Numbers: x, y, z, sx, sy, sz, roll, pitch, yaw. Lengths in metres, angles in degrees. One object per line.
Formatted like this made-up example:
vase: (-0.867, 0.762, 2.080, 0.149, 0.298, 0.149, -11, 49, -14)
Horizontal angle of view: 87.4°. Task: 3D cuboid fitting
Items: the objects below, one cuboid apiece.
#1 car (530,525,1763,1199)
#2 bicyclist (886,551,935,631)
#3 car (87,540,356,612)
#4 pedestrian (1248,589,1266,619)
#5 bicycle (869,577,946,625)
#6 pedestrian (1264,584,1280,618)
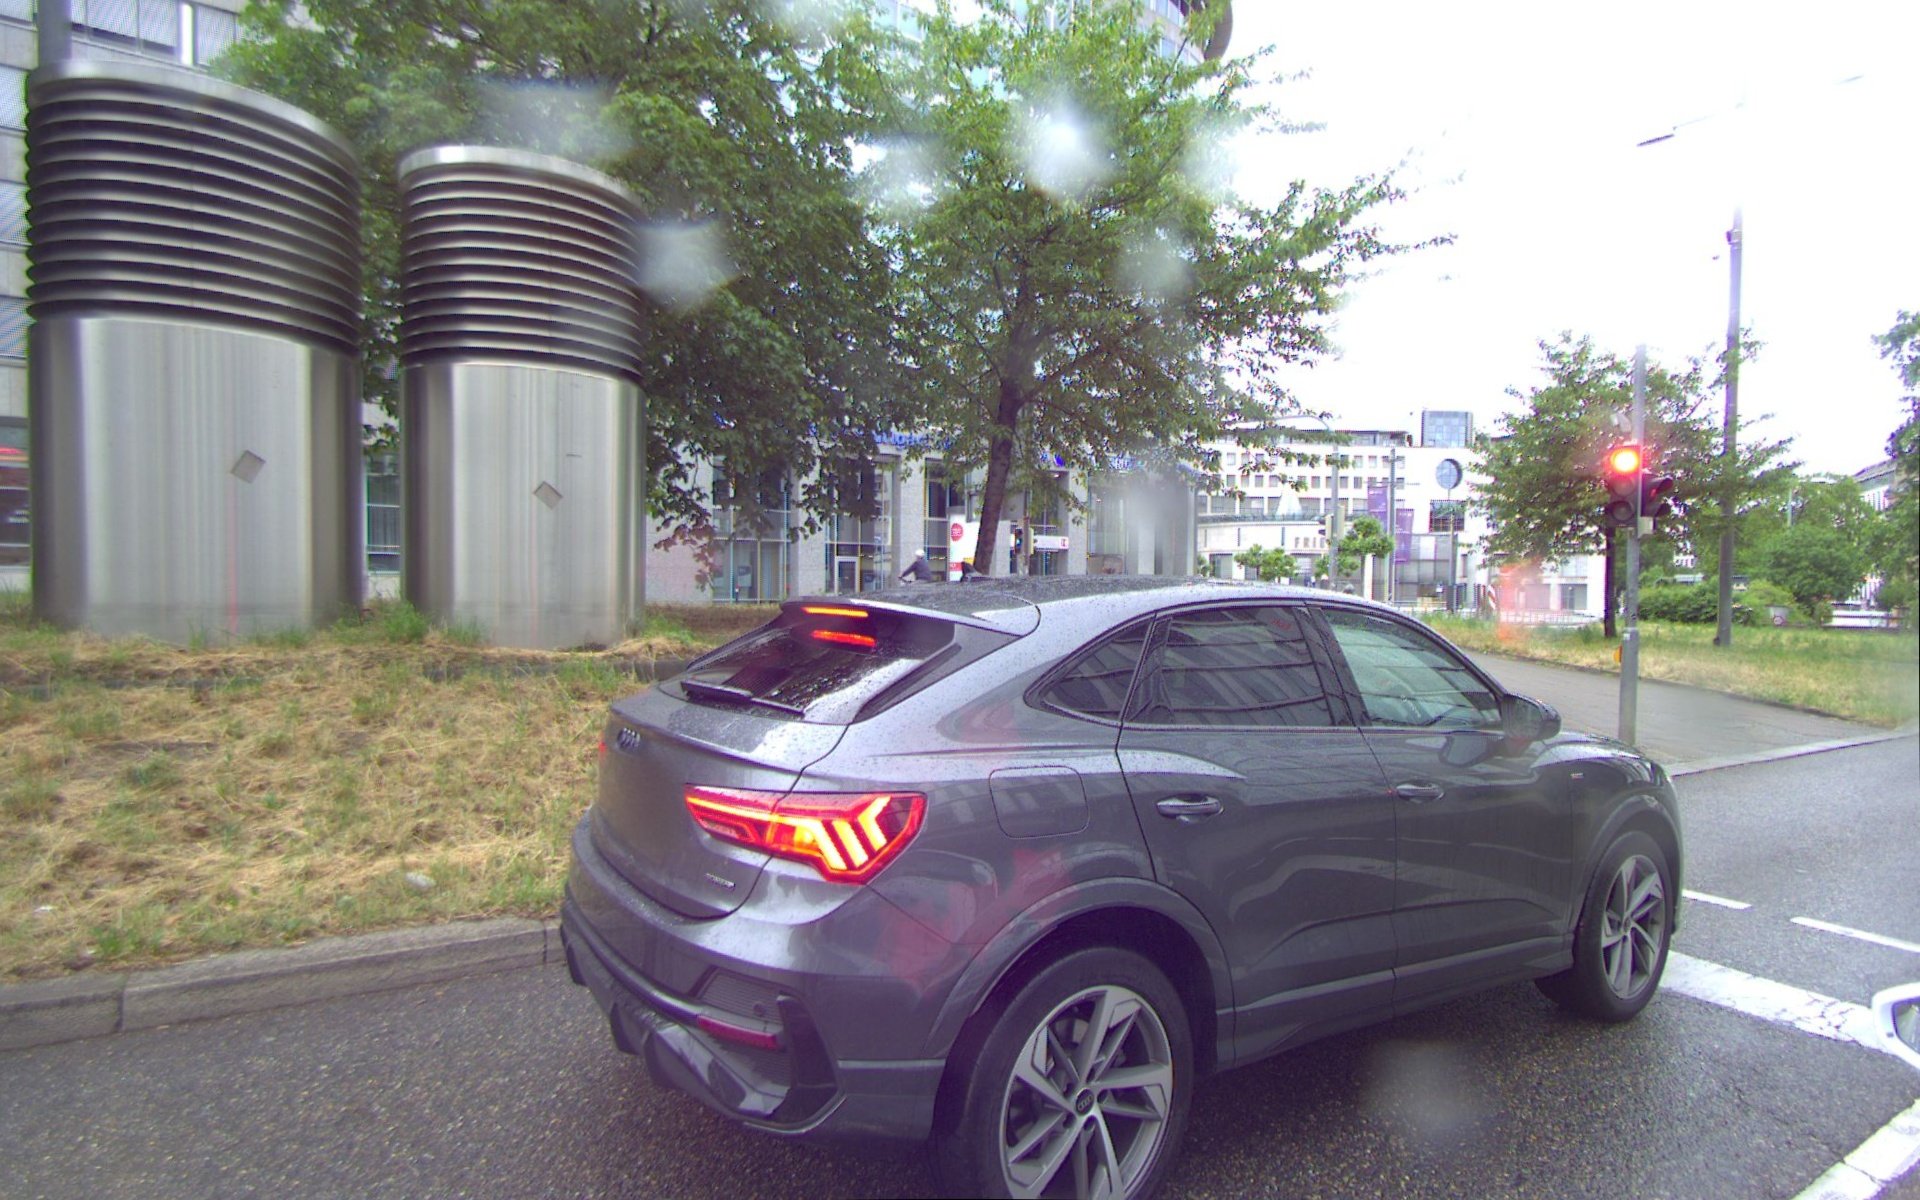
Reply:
car: (0.877, 0.681, 3.586, 4.206, 1.638, 1.837, 0, 2, -33)
bicyclist: (-1.372, -0.260, 27.660, 1.067, 2.111, 0.760, 4, 4, 36)
car: (-15.531, -0.476, 21.365, 4.435, 1.343, 1.878, 1, 1, -37)
pedestrian: (15.771, 0.218, 53.392, 0.719, 1.536, 0.688, -1, -2, 41)
bicycle: (-1.465, 0.011, 27.756, 2.098, 1.161, 0.760, 4, 4, 36)
pedestrian: (16.382, 0.071, 52.738, 0.612, 1.786, 0.722, -1, -2, 39)
